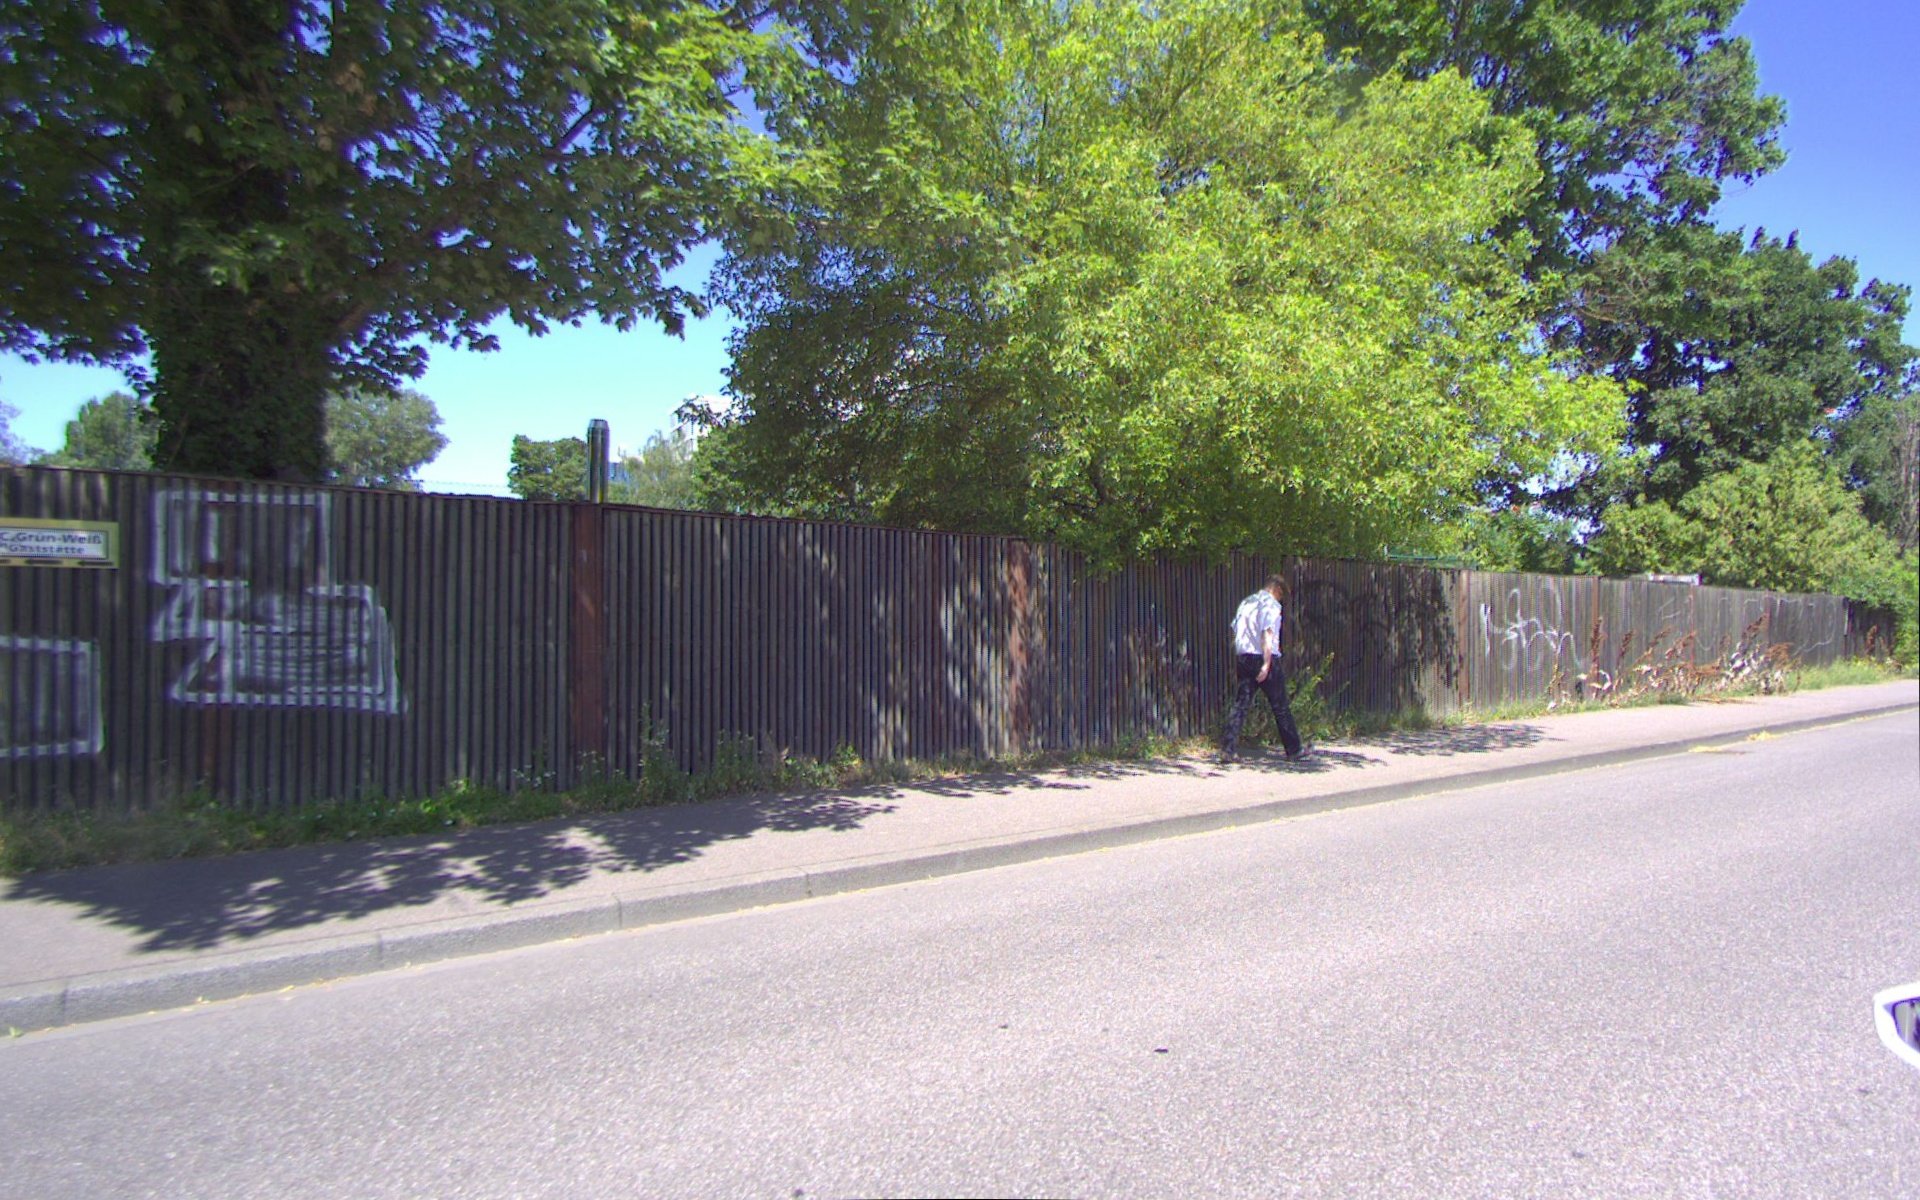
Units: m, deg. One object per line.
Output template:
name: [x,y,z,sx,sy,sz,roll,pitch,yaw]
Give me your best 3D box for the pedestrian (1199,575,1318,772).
pedestrian: [2.805,0.660,9.454,0.810,1.748,0.718,1,-1,-34]
